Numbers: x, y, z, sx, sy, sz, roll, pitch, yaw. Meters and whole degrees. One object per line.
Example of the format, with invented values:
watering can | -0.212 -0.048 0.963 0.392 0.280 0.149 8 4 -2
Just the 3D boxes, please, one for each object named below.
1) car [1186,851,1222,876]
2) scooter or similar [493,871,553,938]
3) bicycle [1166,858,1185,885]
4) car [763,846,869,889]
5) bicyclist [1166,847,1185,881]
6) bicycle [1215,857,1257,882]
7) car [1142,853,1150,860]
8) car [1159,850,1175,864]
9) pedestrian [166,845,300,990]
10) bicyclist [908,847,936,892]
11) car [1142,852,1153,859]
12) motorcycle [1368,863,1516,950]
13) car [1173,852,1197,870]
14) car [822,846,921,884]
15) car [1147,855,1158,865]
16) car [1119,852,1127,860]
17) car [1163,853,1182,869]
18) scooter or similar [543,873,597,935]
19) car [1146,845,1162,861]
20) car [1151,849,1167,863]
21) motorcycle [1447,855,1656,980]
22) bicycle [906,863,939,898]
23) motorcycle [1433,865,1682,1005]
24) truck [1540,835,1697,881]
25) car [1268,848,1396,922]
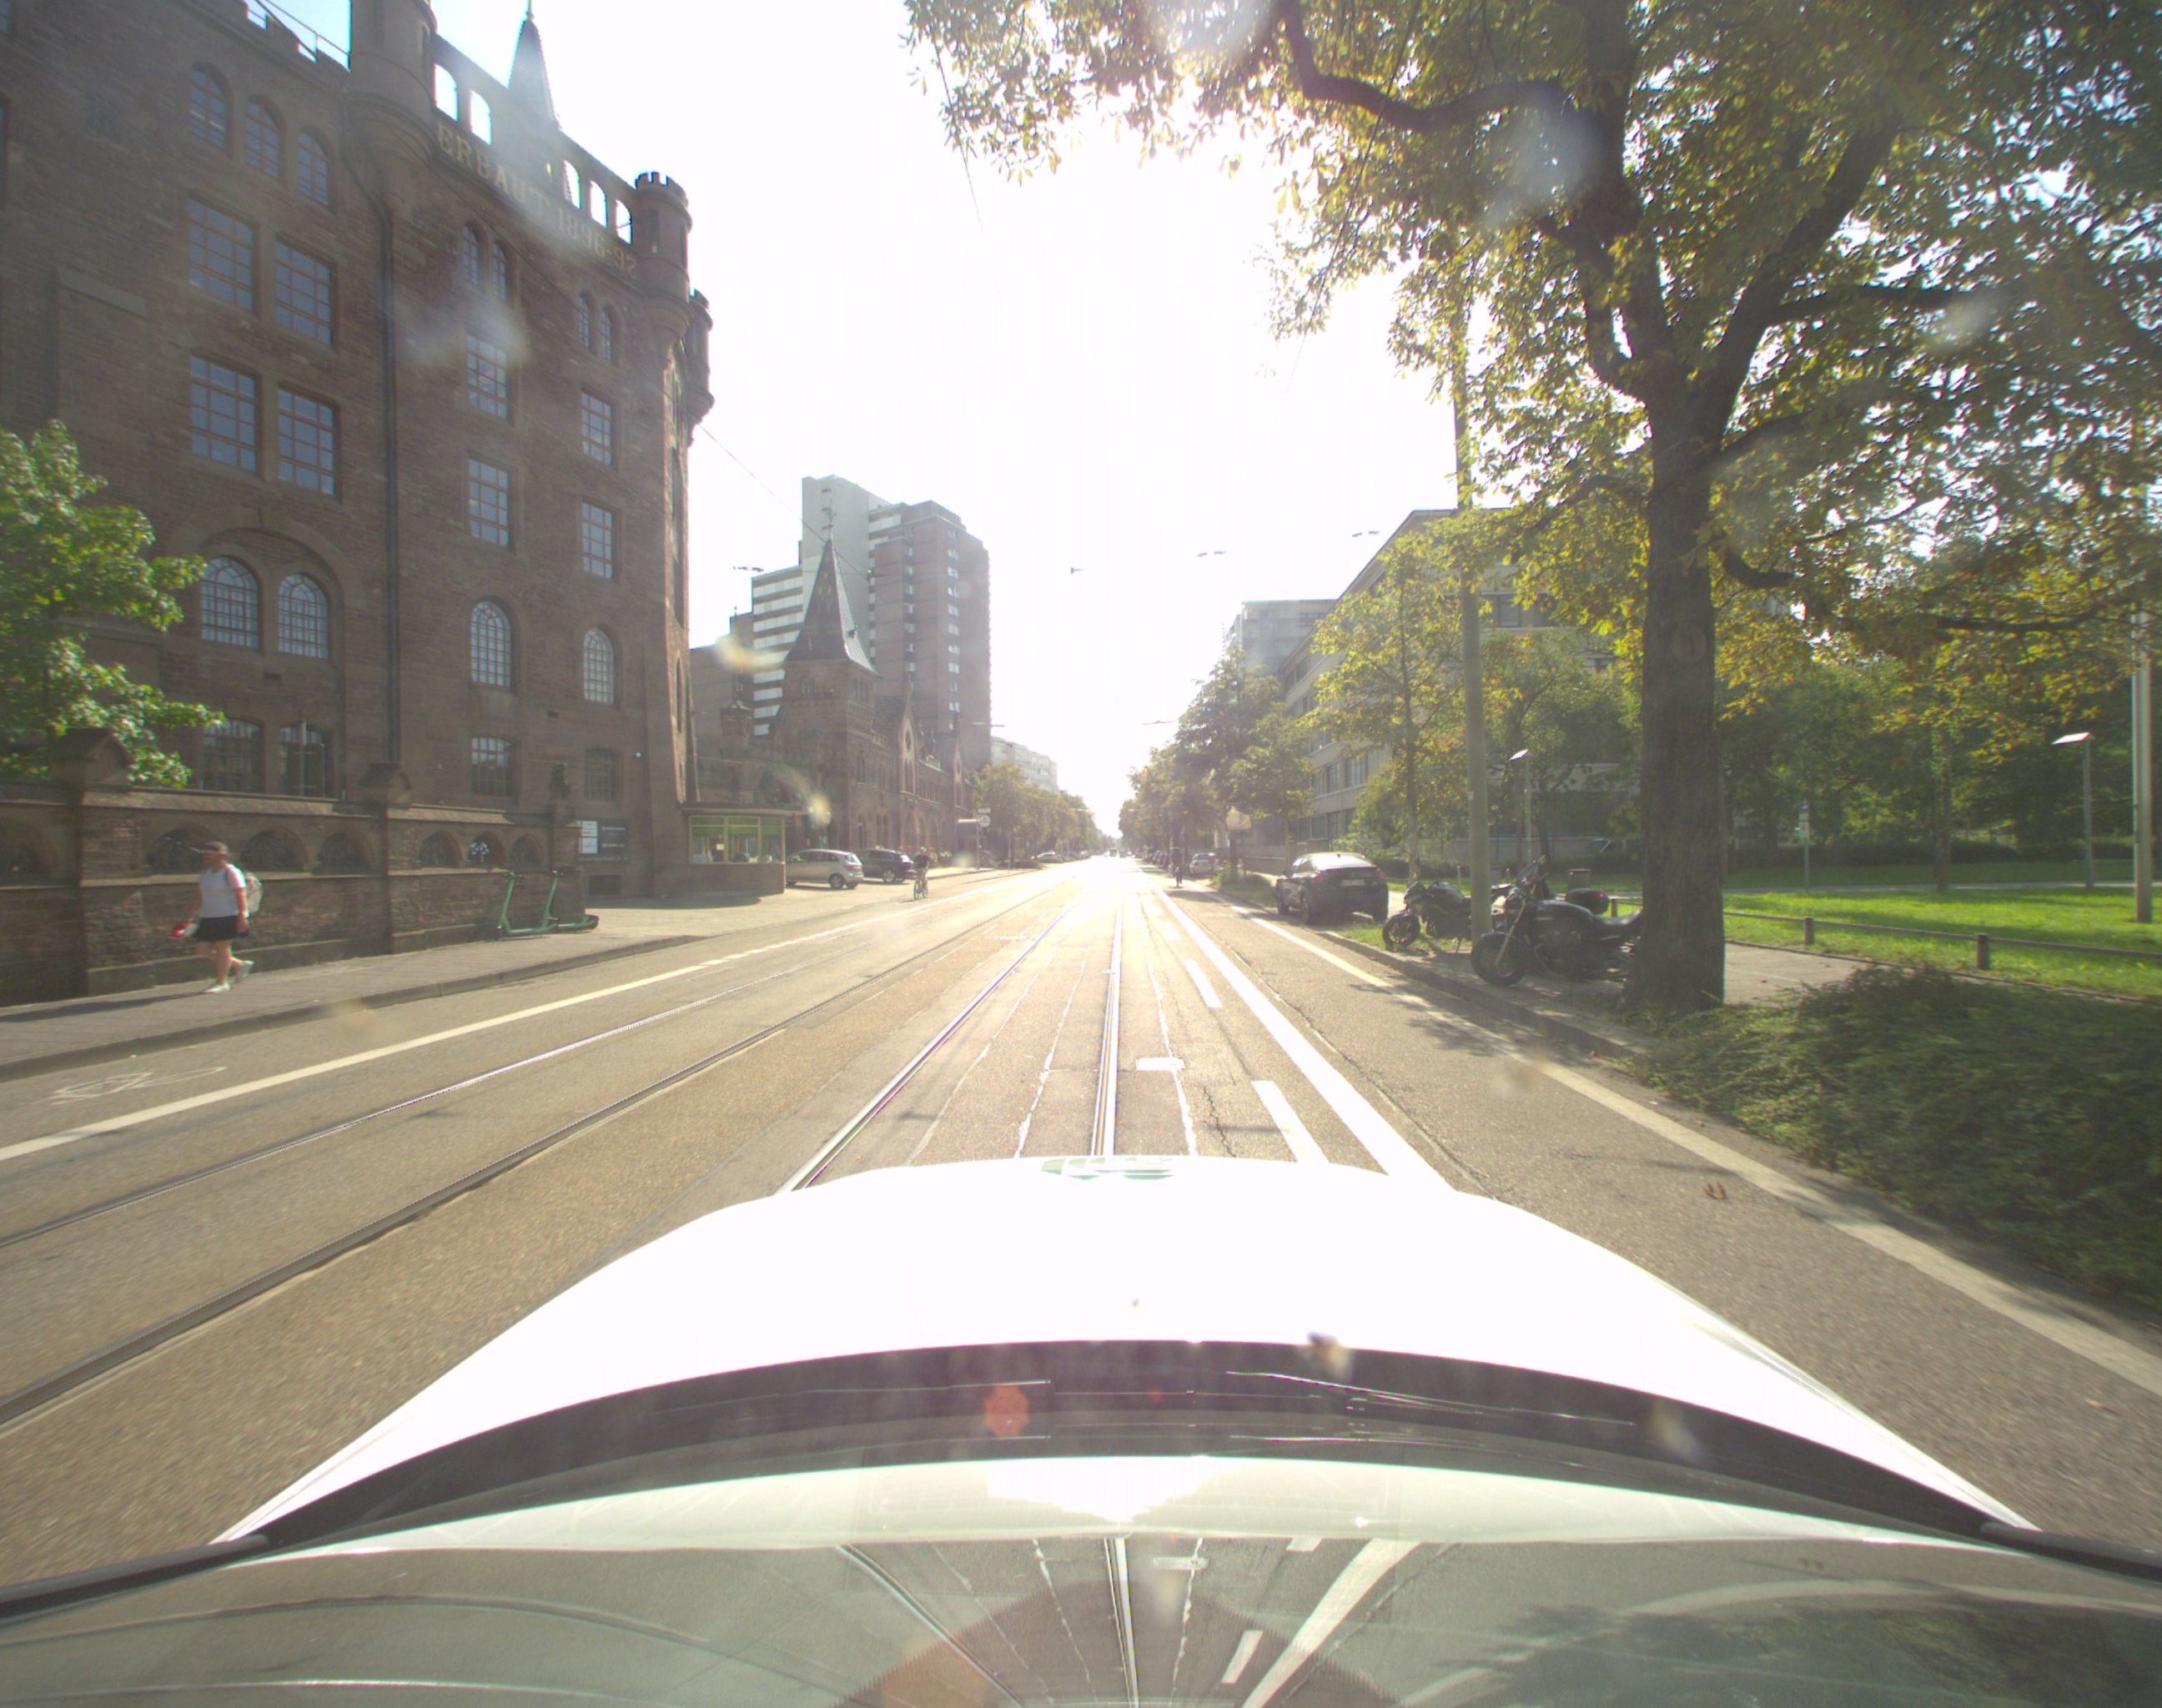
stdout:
car | 7.486 0.578 49.838 1.634 1.430 3.990 -2 0 1
scooter or similar | -9.859 0.894 14.400 0.820 1.148 0.281 3 -2 -34
bicycle | 4.214 0.764 36.394 0.783 1.144 2.308 -1 0 5
car | -11.388 0.544 35.153 3.881 1.596 1.825 3 0 5
bicyclist | 4.181 0.459 36.000 0.783 1.470 1.117 -1 0 5
bicycle | 7.104 0.715 37.453 1.762 1.064 0.796 -3 0 0
car | 14.855 0.603 186.879 1.682 1.418 3.638 -1 0 4
car | 9.739 0.279 92.394 1.569 1.485 3.742 -2 0 3
pedestrian | -9.708 0.700 9.355 0.712 1.589 0.775 -1 -1 2
bicyclist | -5.760 0.556 29.533 0.695 1.580 1.087 -3 0 1
car | 12.521 0.274 153.391 1.746 1.377 4.723 -3 0 3
motorcycle | 5.400 0.759 12.215 1.964 1.225 0.650 -1 -1 28
car | 8.708 0.540 68.459 1.640 1.428 4.087 -2 0 2
car | -10.463 0.524 40.953 4.383 1.645 1.957 3 0 0
car | 10.898 0.872 124.056 1.609 1.374 4.832 -2 0 4
car | 10.402 0.441 202.303 1.984 1.838 4.005 -1 0 4
car | 8.964 0.695 80.088 1.639 1.511 3.781 -3 0 3
scooter or similar | -9.806 0.952 15.634 0.820 1.148 0.281 3 -2 -34
car | 12.057 -0.147 134.534 2.075 2.552 5.503 -4 0 2
car | 9.861 0.197 103.133 1.747 1.691 4.397 0 0 1
motorcycle | 5.627 0.707 9.907 0.846 1.327 2.049 -2 0 -26
bicycle | -5.727 0.944 29.520 0.695 1.158 2.038 -3 0 1
motorcycle | 4.853 0.769 8.385 2.040 1.243 0.850 -3 -1 41
truck | 27.468 0.192 41.794 6.538 2.215 2.123 -1 0 3
car | 5.779 0.635 19.318 1.734 1.486 4.439 -2 0 2
